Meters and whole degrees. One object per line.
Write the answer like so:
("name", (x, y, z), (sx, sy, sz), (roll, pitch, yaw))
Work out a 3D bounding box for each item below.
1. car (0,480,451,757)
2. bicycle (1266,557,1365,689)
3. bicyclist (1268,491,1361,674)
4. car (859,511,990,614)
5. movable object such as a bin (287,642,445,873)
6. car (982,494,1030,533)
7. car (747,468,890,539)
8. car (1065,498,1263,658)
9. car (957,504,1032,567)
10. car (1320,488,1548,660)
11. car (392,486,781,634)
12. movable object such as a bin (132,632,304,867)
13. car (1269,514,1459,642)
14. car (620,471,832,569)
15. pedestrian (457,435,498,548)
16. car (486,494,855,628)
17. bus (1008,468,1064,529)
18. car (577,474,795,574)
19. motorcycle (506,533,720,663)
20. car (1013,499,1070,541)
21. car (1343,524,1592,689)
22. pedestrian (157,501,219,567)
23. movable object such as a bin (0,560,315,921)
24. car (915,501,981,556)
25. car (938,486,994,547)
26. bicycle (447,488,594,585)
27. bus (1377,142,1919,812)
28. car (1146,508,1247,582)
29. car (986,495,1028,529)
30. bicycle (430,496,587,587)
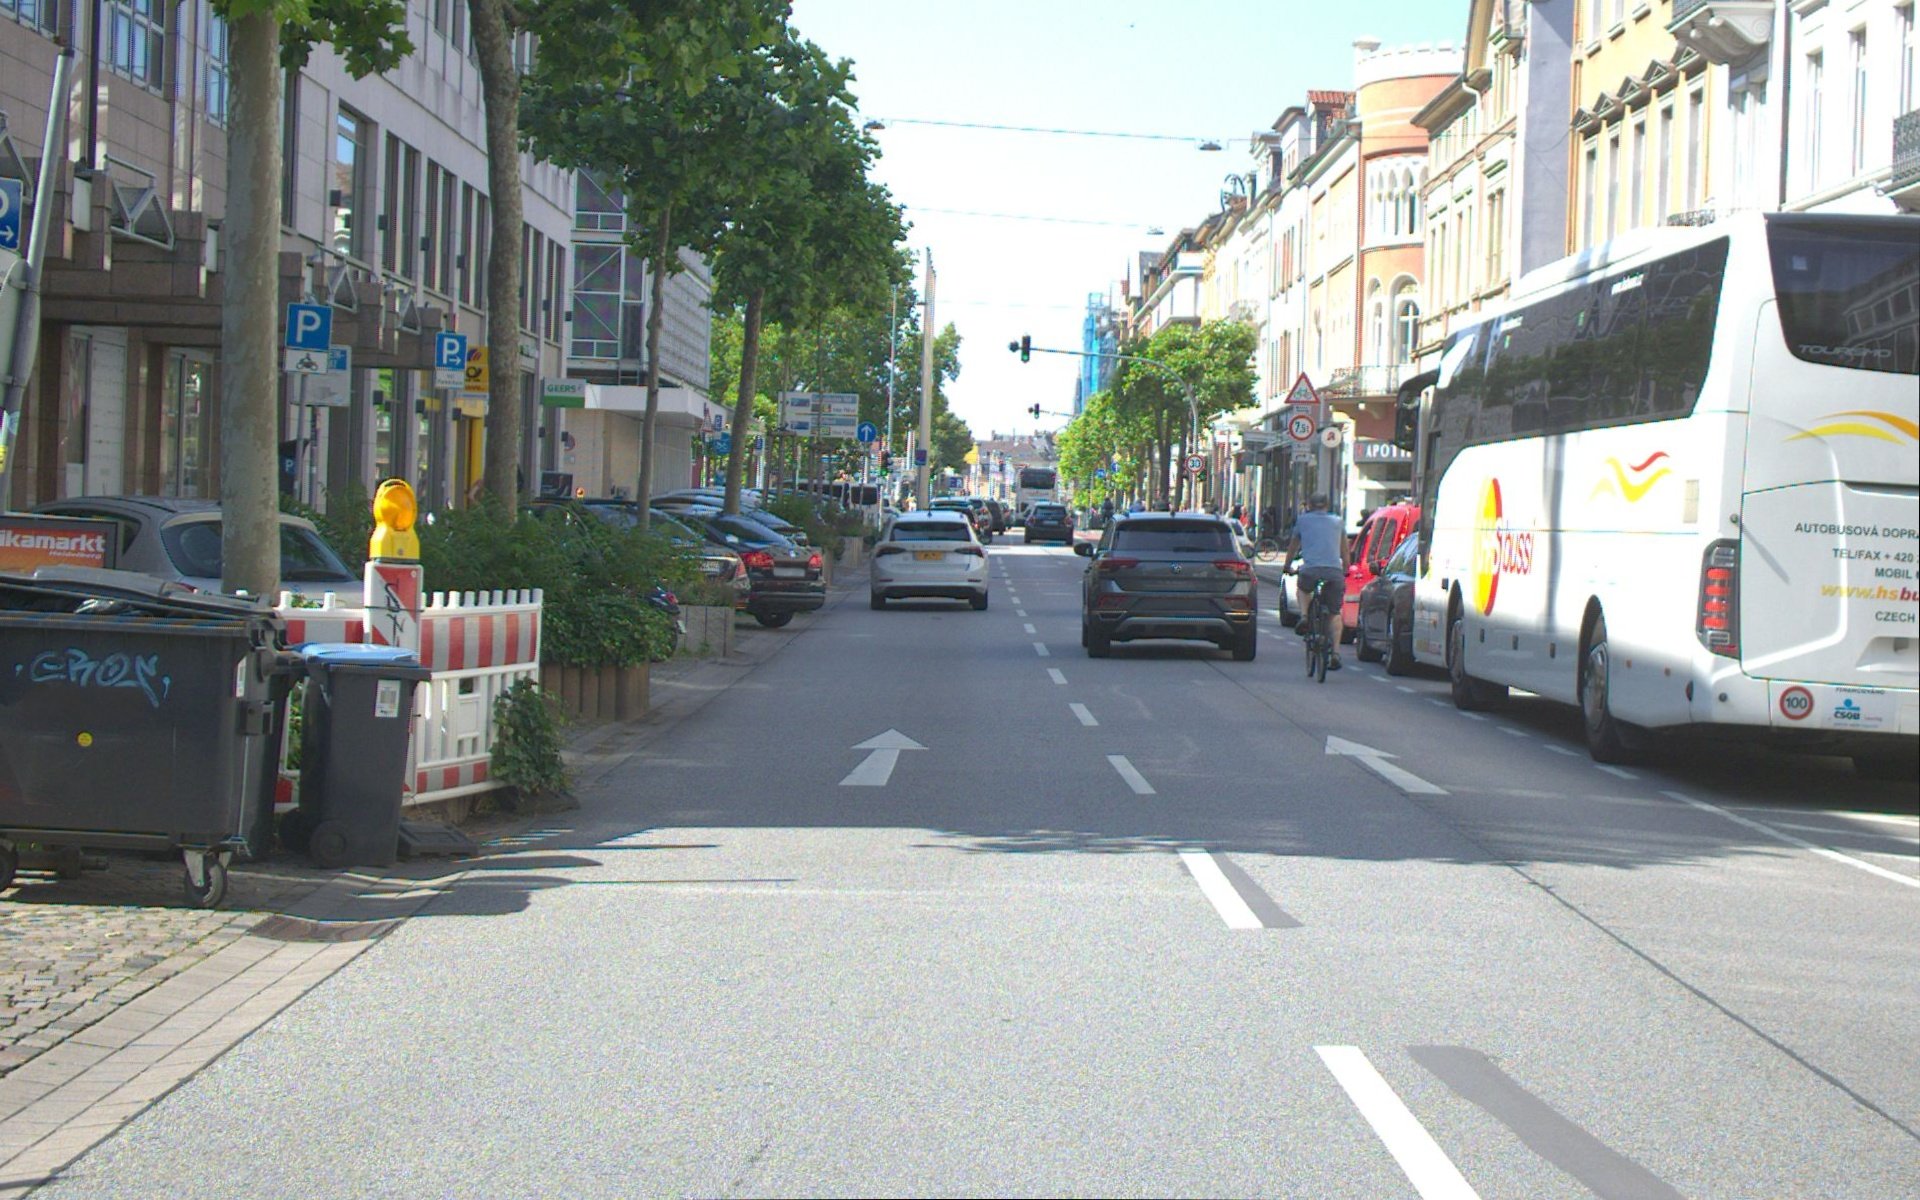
("car", (-5.333, 0.044, 21.933), (4.055, 1.489, 1.931), (5, 3, 41))
("bicycle", (3.366, 0.197, 32.712), (0.664, 1.116, 2.243), (4, 2, 1))
("bicyclist", (3.382, -0.179, 32.850), (0.694, 1.667, 0.916), (4, 3, 1))
("car", (-0.582, -0.595, 52.312), (1.863, 1.436, 4.001), (2, 1, -2))
("movable object such as a bin", (-2.557, 0.668, 14.793), (0.553, 0.936, 0.501), (-1, 2, -25))
("car", (1.873, -3.505, 139.988), (1.863, 1.436, 4.000), (1, 0, 0))
("car", (-4.931, -3.357, 119.380), (4.721, 1.996, 1.937), (7, 2, 41))
("car", (2.151, -0.265, 37.243), (1.833, 1.522, 4.000), (4, 1, 0))
("car", (0.810, -1.592, 83.736), (1.743, 1.436, 4.000), (1, 2, 0))
("car", (5.681, -0.368, 41.751), (1.827, 1.857, 4.355), (3, 2, -3))
("car", (-4.564, -0.505, 41.499), (4.754, 1.528, 1.985), (4, 3, 43))
("movable object such as a bin", (-3.135, 0.622, 14.552), (0.499, 0.936, 0.555), (1, 2, 17))
("car", (5.488, -0.348, 47.215), (1.813, 1.461, 4.581), (3, 3, -2))
("car", (-4.913, -1.679, 72.204), (3.993, 1.563, 1.697), (7, 2, 25))
("pedestrian", (-7.168, -1.605, 51.018), (0.565, 1.651, 0.637), (1, 2, -9))
("car", (-3.793, -0.519, 44.468), (4.793, 1.417, 1.879), (5, 3, 41))
("bus", (4.628, -6.275, 211.550), (2.770, 3.592, 8.975), (1, 2, -3))
("car", (-5.231, -1.468, 65.817), (3.986, 1.495, 1.718), (6, 1, -3))
("motorcycle", (-3.397, -0.032, 33.640), (1.912, 1.166, 0.759), (3, 2, 21))
("car", (2.893, -2.860, 122.172), (1.863, 1.436, 4.000), (1, 2, 0))
("car", (5.248, 0.006, 36.225), (1.859, 1.464, 5.226), (3, 2, 1))
("pedestrian", (-10.301, -0.886, 45.900), (0.566, 0.806, 0.774), (7, 2, 0))
("movable object such as a bin", (-3.230, 0.520, 13.266), (1.277, 1.295, 0.853), (2, 1, 1))
("car", (-0.334, -2.000, 95.296), (1.743, 1.436, 4.000), (1, 2, 0))
("car", (0.192, -2.929, 121.776), (1.863, 2.023, 4.000), (2, 0, 0))
("bicycle", (-6.500, -0.938, 50.908), (2.064, 1.284, 0.368), (4, 1, -7))
("bus", (5.526, -0.827, 25.814), (2.881, 3.729, 12.428), (4, 2, -1))
("car", (4.992, -1.153, 73.024), (1.833, 1.522, 4.000), (0, 0, 0))
("car", (2.156, -4.041, 158.955), (1.863, 1.436, 4.000), (1, 0, 0))
("bicycle", (-6.386, -0.833, 48.701), (2.065, 1.126, 0.618), (4, 1, 1))
